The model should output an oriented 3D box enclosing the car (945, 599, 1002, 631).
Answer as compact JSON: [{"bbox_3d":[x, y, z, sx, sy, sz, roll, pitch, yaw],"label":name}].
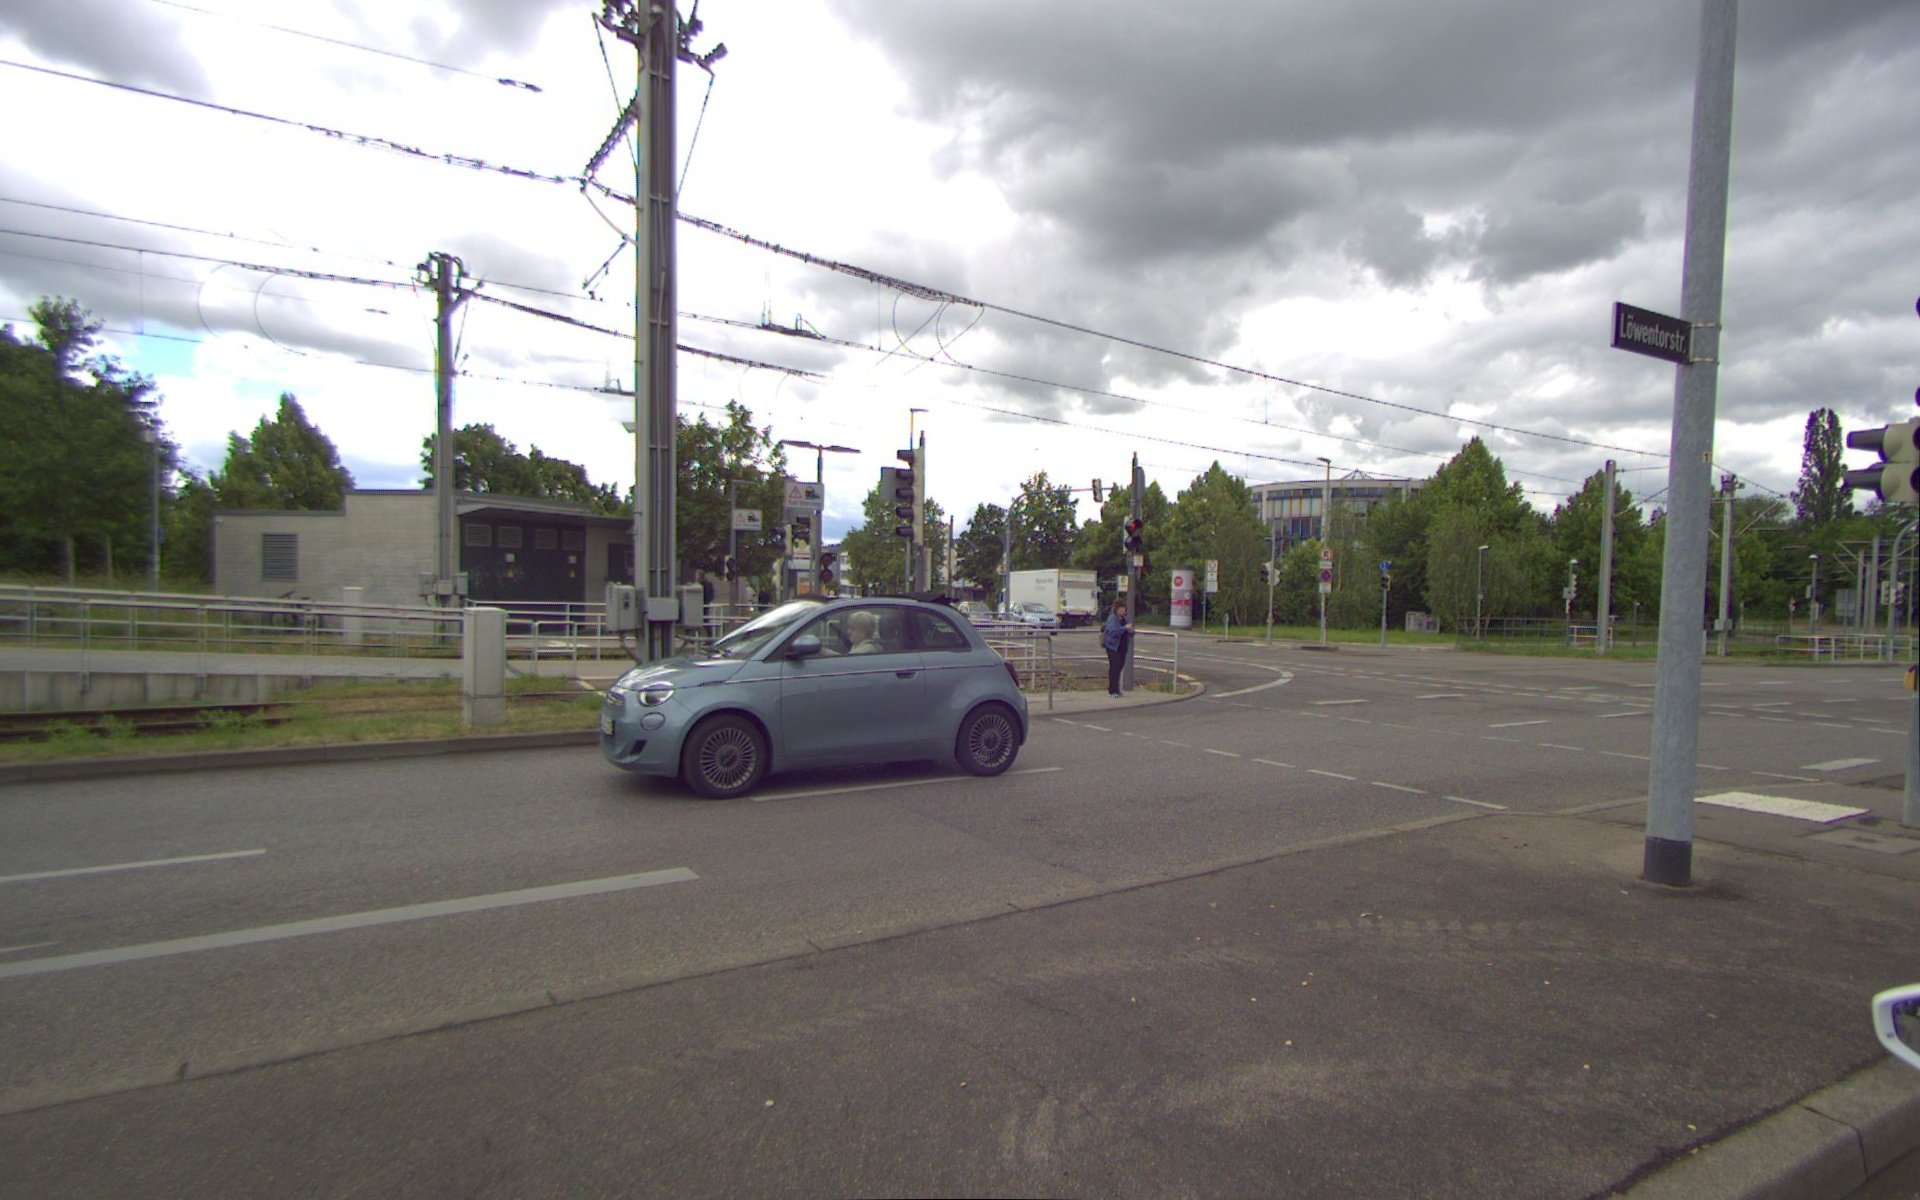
[{"bbox_3d":[0.661,0.768,53.857,1.776,1.617,3.982,2,0,-20],"label":"car"}]

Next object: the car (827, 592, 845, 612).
[{"bbox_3d":[-14.626,0.244,118.099,1.964,2.218,5.800,1,0,-9],"label":"car"}]

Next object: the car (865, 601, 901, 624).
[{"bbox_3d":[-5.772,0.893,74.890,1.775,1.617,3.985,2,0,-17],"label":"car"}]

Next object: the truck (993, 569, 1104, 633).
[{"bbox_3d":[5.229,0.032,61.642,2.972,3.580,9.236,1,0,-21],"label":"truck"}]

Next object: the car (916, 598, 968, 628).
[{"bbox_3d":[-1.069,0.734,58.030,1.776,1.617,3.982,2,0,-20],"label":"car"}]

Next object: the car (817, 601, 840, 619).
[{"bbox_3d":[-13.441,1.006,102.555,1.869,1.805,3.988,1,0,-14],"label":"car"}]

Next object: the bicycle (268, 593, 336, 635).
[{"bbox_3d":[-17.412,0.369,26.582,1.778,1.045,0.536,2,0,21],"label":"bicycle"}]

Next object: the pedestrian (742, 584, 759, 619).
[{"bbox_3d":[-9.420,0.079,45.103,0.633,1.557,0.521,2,0,-2],"label":"pedestrian"}]

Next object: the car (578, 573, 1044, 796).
[{"bbox_3d":[-1.254,0.631,8.613,3.557,1.548,1.749,2,0,-29],"label":"car"}]

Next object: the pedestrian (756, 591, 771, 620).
[{"bbox_3d":[-9.334,0.258,47.622,0.593,1.377,0.614,2,0,-18],"label":"pedestrian"}]

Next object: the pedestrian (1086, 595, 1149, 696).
[{"bbox_3d":[2.507,0.714,16.012,0.712,1.557,0.630,2,0,-33],"label":"pedestrian"}]

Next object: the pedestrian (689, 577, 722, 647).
[{"bbox_3d":[-6.430,0.301,25.386,0.700,1.751,0.674,2,0,-19],"label":"pedestrian"}]

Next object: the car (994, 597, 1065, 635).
[{"bbox_3d":[3.192,0.710,46.890,1.848,1.617,3.982,2,0,-20],"label":"car"}]

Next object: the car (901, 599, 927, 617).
[{"bbox_3d":[-4.392,0.744,96.206,2.010,1.617,3.993,2,0,-9],"label":"car"}]
